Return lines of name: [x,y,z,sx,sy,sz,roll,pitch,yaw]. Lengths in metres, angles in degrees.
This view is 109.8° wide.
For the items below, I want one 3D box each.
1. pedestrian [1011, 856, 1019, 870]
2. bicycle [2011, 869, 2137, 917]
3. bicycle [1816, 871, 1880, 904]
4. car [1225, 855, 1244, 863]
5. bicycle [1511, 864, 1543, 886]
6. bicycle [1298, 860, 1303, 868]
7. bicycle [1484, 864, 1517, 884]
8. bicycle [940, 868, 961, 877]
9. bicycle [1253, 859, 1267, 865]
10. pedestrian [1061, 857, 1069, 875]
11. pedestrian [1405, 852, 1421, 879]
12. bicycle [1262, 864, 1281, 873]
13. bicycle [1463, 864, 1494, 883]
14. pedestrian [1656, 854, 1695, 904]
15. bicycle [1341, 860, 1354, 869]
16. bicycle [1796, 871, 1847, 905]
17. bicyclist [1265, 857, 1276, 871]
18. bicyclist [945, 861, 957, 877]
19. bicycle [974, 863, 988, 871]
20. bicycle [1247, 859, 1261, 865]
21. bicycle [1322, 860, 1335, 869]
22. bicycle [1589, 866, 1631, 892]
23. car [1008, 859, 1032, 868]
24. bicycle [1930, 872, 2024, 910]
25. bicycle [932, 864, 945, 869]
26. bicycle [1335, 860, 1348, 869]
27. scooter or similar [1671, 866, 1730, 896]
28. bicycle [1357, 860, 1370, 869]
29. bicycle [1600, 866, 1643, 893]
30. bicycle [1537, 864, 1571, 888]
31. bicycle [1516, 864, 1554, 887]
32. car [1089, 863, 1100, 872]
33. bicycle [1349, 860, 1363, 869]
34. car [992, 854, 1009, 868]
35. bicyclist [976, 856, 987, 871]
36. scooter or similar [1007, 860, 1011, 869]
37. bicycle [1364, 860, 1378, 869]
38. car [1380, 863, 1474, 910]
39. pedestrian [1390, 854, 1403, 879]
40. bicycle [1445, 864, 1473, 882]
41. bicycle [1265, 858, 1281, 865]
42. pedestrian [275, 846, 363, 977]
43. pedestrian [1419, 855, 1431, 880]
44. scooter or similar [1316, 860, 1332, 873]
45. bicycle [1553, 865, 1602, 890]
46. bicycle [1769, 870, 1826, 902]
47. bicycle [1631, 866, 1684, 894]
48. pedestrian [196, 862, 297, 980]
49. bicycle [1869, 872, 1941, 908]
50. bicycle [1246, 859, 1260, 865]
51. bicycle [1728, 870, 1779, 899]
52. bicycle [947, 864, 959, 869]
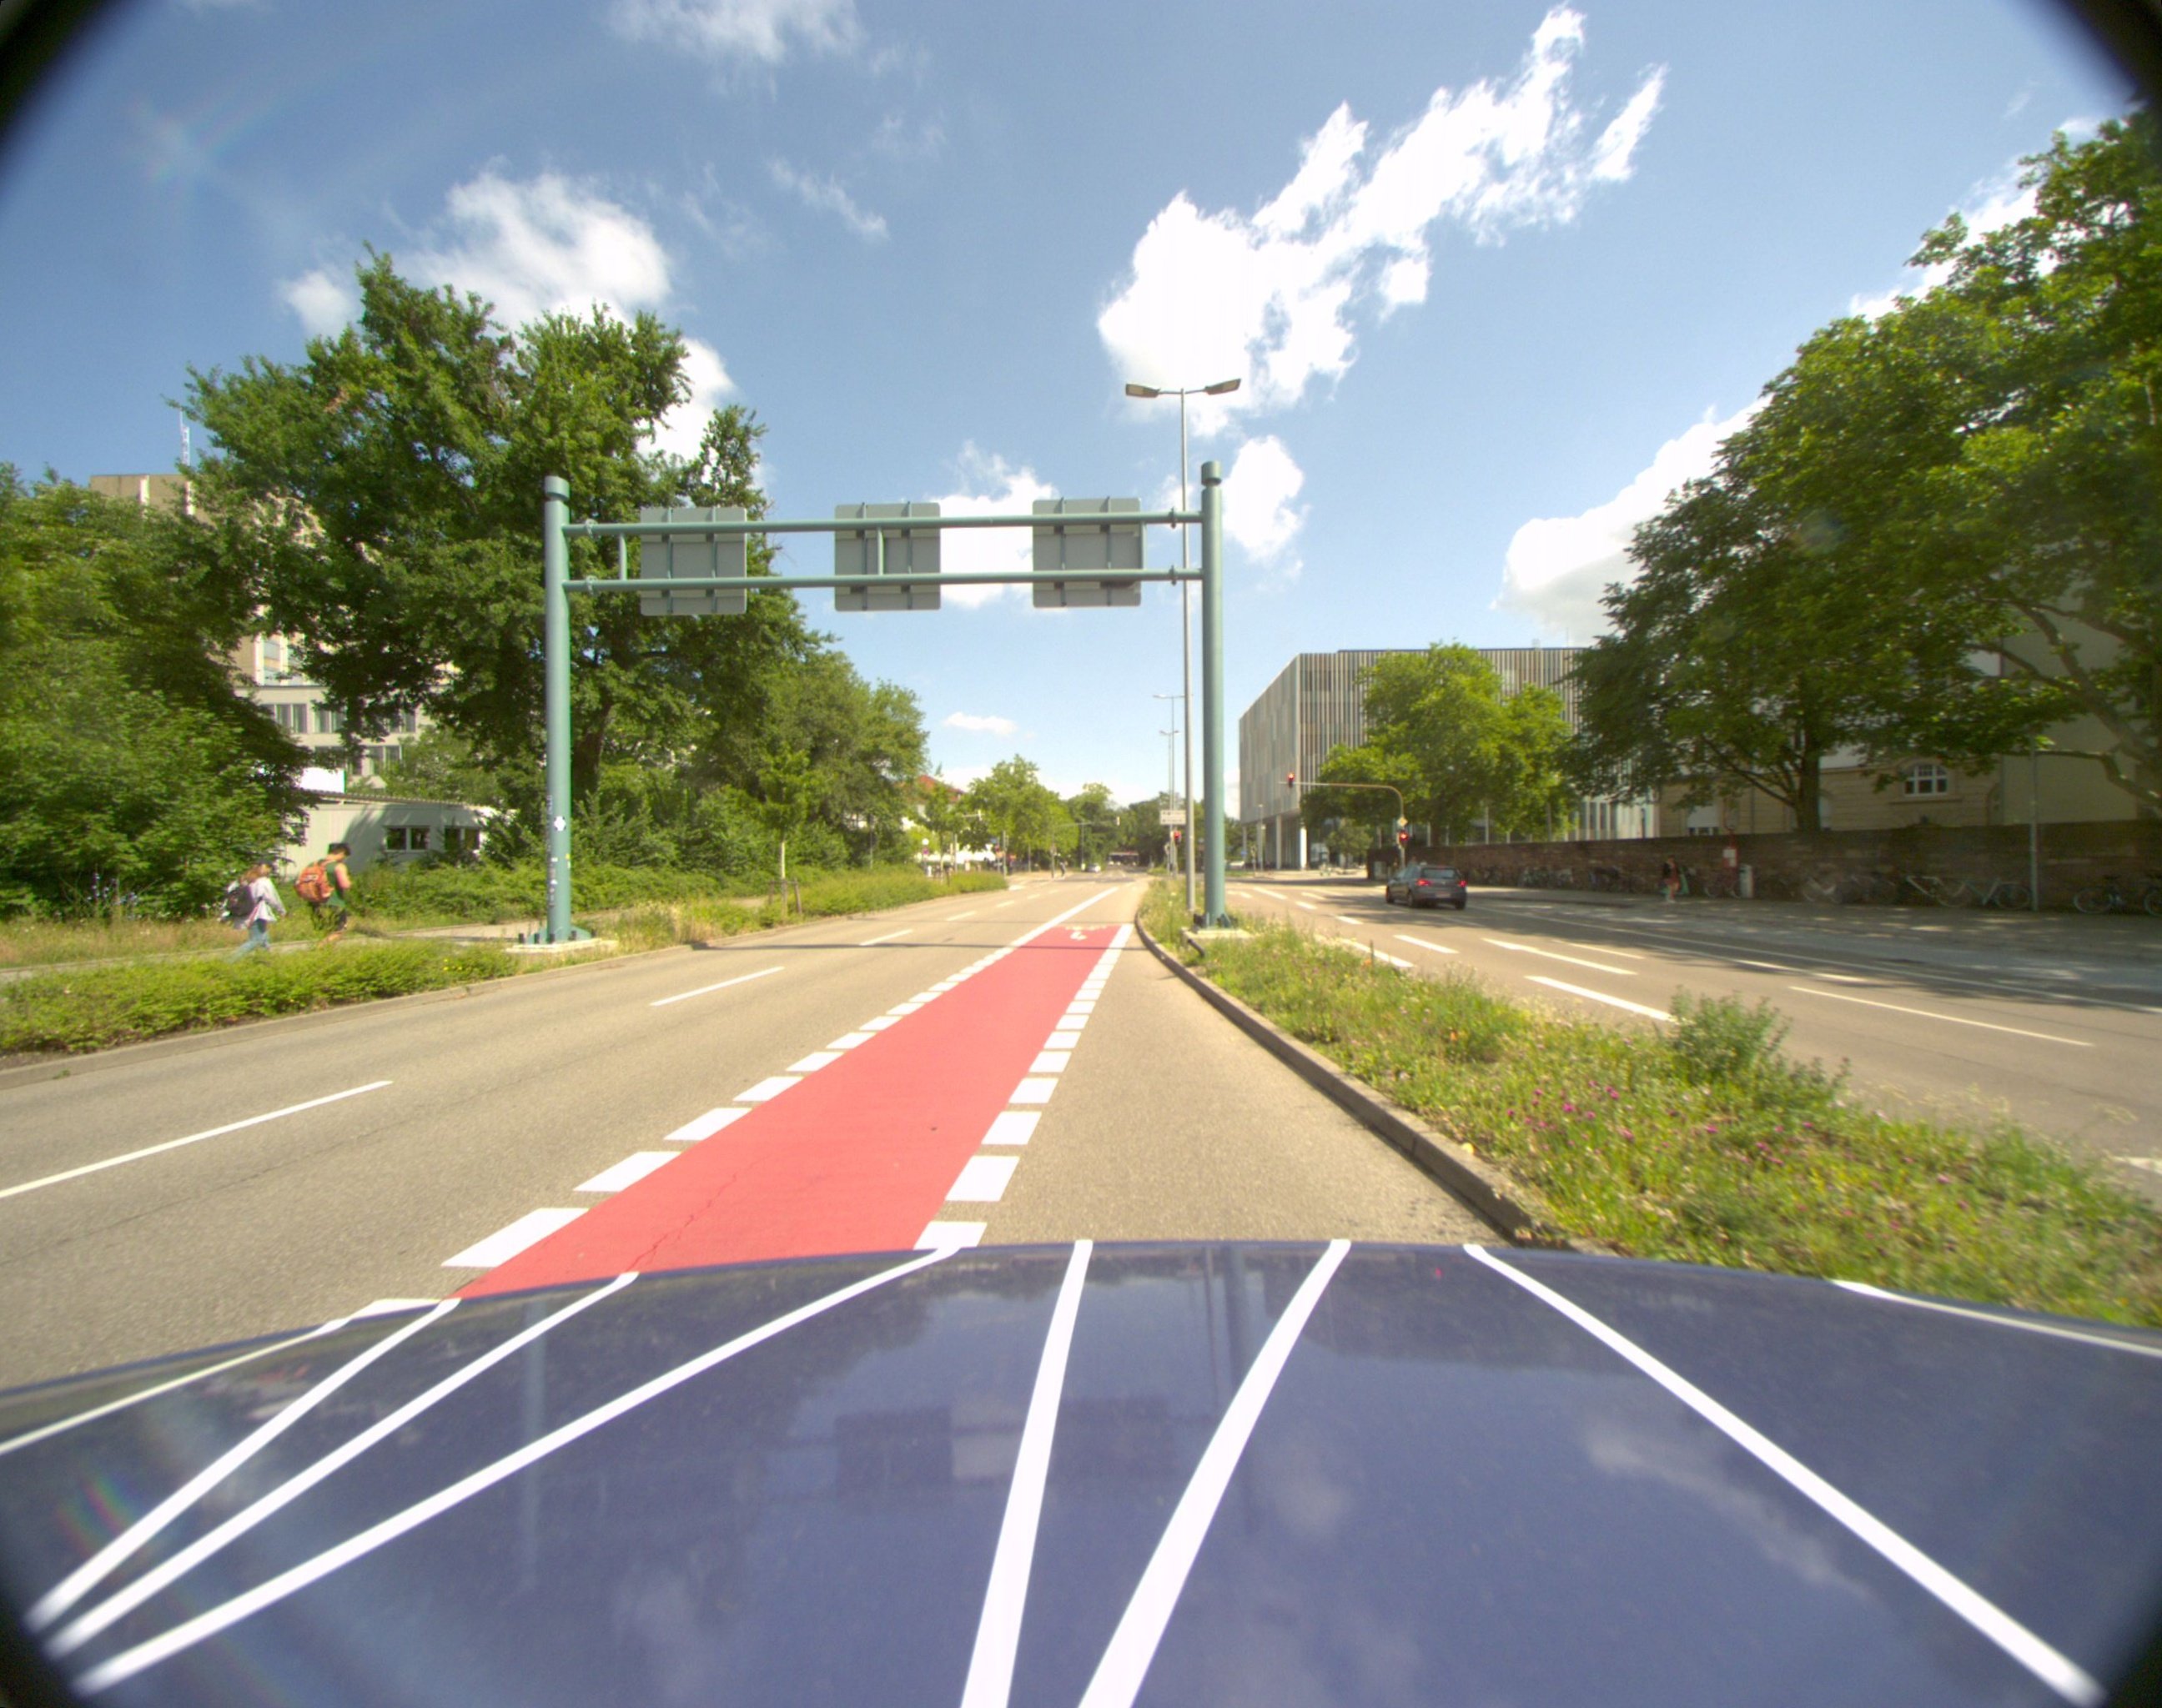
pedestrian: [-7.465,1.020,85.509,0.741,1.640,0.640,0,0,14]
bicycle: [23.624,0.902,18.124,0.584,1.067,1.754,-1,0,-9]
bicycle: [23.221,0.989,23.038,0.367,0.949,1.401,-1,0,-9]
car: [33.144,1.066,163.995,3.995,1.676,1.647,0,0,5]
bicycle: [22.112,1.017,37.716,0.371,1.042,1.880,0,0,-3]
bicycle: [28.335,1.307,98.228,0.547,1.090,1.636,0,0,15]
bicycle: [21.973,1.037,39.820,0.565,1.042,1.880,0,0,-3]
bicycle: [-11.316,1.582,65.775,1.756,0.771,0.445,-1,0,-7]
bicycle: [30.764,1.348,130.496,2.217,1.090,0.722,0,0,-2]
pedestrian: [-1.686,1.289,80.078,0.701,1.815,0.942,2,1,4]
pedestrian: [20.564,0.705,47.092,0.642,1.641,0.731,0,0,0]
bicycle: [19.629,1.509,78.391,1.770,0.887,0.639,-1,0,38]
bicycle: [21.917,1.056,41.922,0.631,1.042,1.880,0,0,-3]
pedestrian: [19.467,0.808,24.875,0.658,1.600,0.744,-1,0,-2]
bicycle: [32.602,1.280,92.839,0.720,1.090,2.223,0,0,43]
bicycle: [22.494,1.021,23.116,0.367,0.949,1.627,0,0,15]
bicyclist: [19.555,1.059,78.467,0.944,1.456,0.633,0,0,37]
bicyclist: [-11.245,1.293,65.783,0.931,1.341,0.445,-1,0,-7]
bicycle: [-9.678,1.263,73.568,0.621,0.828,1.510,-1,0,-44]
bicycle: [30.345,1.413,133.192,2.217,1.090,0.722,0,0,-2]
bicycle: [31.020,1.329,95.287,0.720,1.090,2.223,0,0,43]
bicycle: [22.148,1.034,31.831,0.373,1.042,1.880,0,0,-3]
car: [-10.493,1.658,130.137,3.999,1.416,1.757,0,0,-5]
bicycle: [23.484,0.951,19.957,0.371,0.949,1.625,-1,0,-9]
bicycle: [-20.085,1.757,107.276,1.672,0.785,0.627,0,0,-3]
bicycle: [32.009,1.294,93.394,0.720,1.090,2.223,0,0,43]
scooter or similar: [22.725,0.983,27.910,0.582,1.042,1.880,0,0,-3]
bicycle: [33.746,1.254,90.771,0.720,1.090,2.223,0,0,43]
bicycle: [22.553,1.042,31.737,0.395,1.042,1.880,0,0,-3]
bicycle: [22.239,1.020,35.750,0.371,1.042,1.880,0,0,-3]
bicycle: [21.655,1.029,36.272,0.593,1.042,1.880,0,0,-3]
car: [2.147,2.048,120.000,1.708,1.321,4.000,2,0,0]
bicycle: [33.091,1.255,91.365,0.720,1.090,2.223,0,0,43]
car: [-11.329,0.997,107.331,1.999,2.002,4.902,0,0,0]
bicyclist: [-9.674,0.929,73.563,0.614,1.498,0.916,-1,0,-44]
scooter or similar: [-8.542,1.234,90.248,0.347,1.122,1.168,0,0,5]
bicycle: [34.430,1.215,90.114,0.720,1.090,2.223,0,0,43]
car: [11.939,1.066,26.522,1.704,1.436,4.147,1,0,6]
pedestrian: [20.963,0.839,50.559,0.561,1.641,0.727,0,0,1]
bicycle: [21.911,1.096,44.080,0.631,1.042,1.880,0,0,-3]
bicycle: [29.976,1.115,118.523,2.217,1.090,0.722,0,0,-2]
pedestrian: [-10.686,0.785,10.674,0.568,1.791,0.639,0,0,6]
pedestrian: [21.341,0.817,47.107,0.477,1.531,0.616,0,0,1]
scooter or similar: [22.741,1.178,71.066,1.504,1.150,0.503,0,0,-22]
bicycle: [22.132,1.022,33.894,0.594,1.042,1.878,0,0,-19]
bicycle: [23.029,1.015,24.453,0.367,0.949,1.401,-1,0,-9]
bicycle: [22.610,1.001,29.837,0.582,1.042,1.880,0,0,-3]
pedestrian: [-11.609,0.906,10.590,0.624,1.571,0.709,0,0,6]
bicycle: [23.373,0.998,21.579,0.367,0.949,1.401,-1,0,-9]
bicycle: [30.300,1.417,134.016,2.217,1.083,0.722,0,0,-2]
bicycle: [22.914,1.025,25.911,0.367,0.949,1.401,-1,0,-9]
bicycle: [-18.249,1.776,108.162,1.672,0.729,0.627,0,0,-2]
